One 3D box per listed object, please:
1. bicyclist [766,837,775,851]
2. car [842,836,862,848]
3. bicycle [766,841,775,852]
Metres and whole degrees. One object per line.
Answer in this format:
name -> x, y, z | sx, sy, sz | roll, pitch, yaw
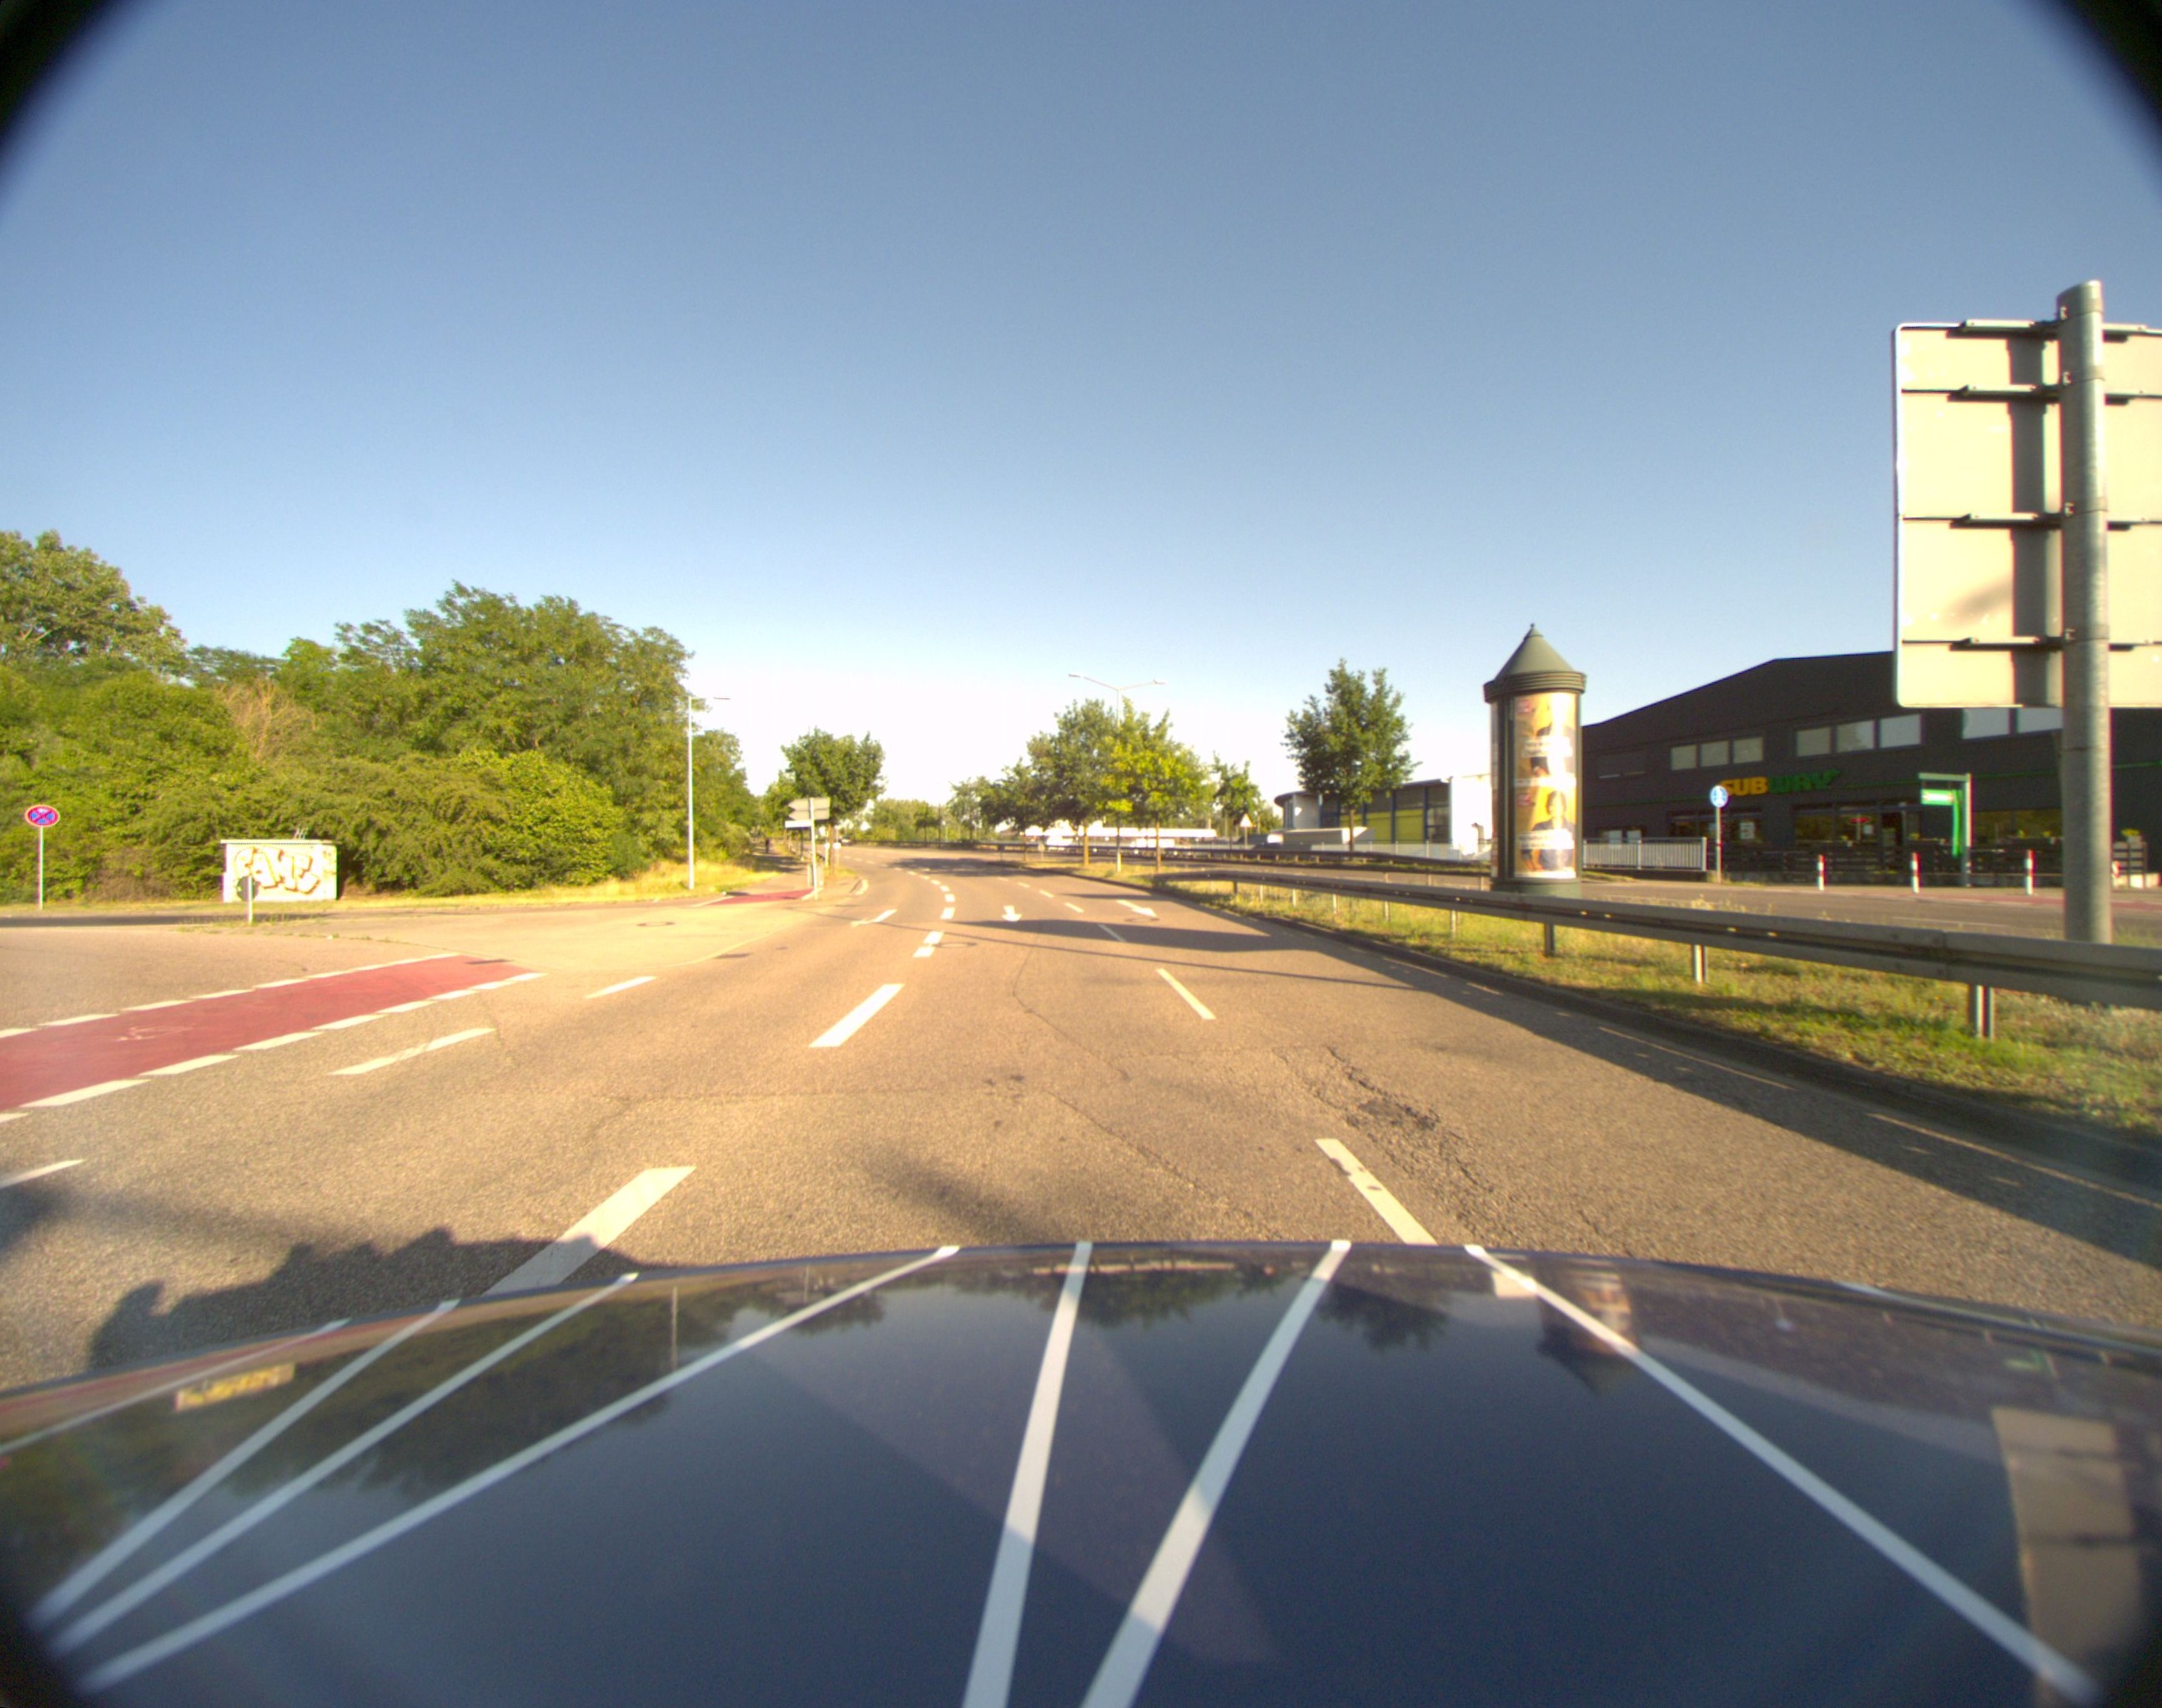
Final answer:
bicyclist -> -32.186, -1.001, 78.753 | 0.844, 1.413, 1.112 | -3, 1, -20
car -> -34.732, -1.795, 115.192 | 2.003, 1.761, 3.991 | -3, 1, -30
bicycle -> -32.162, -0.800, 78.728 | 0.783, 1.051, 2.492 | -3, 1, -21
